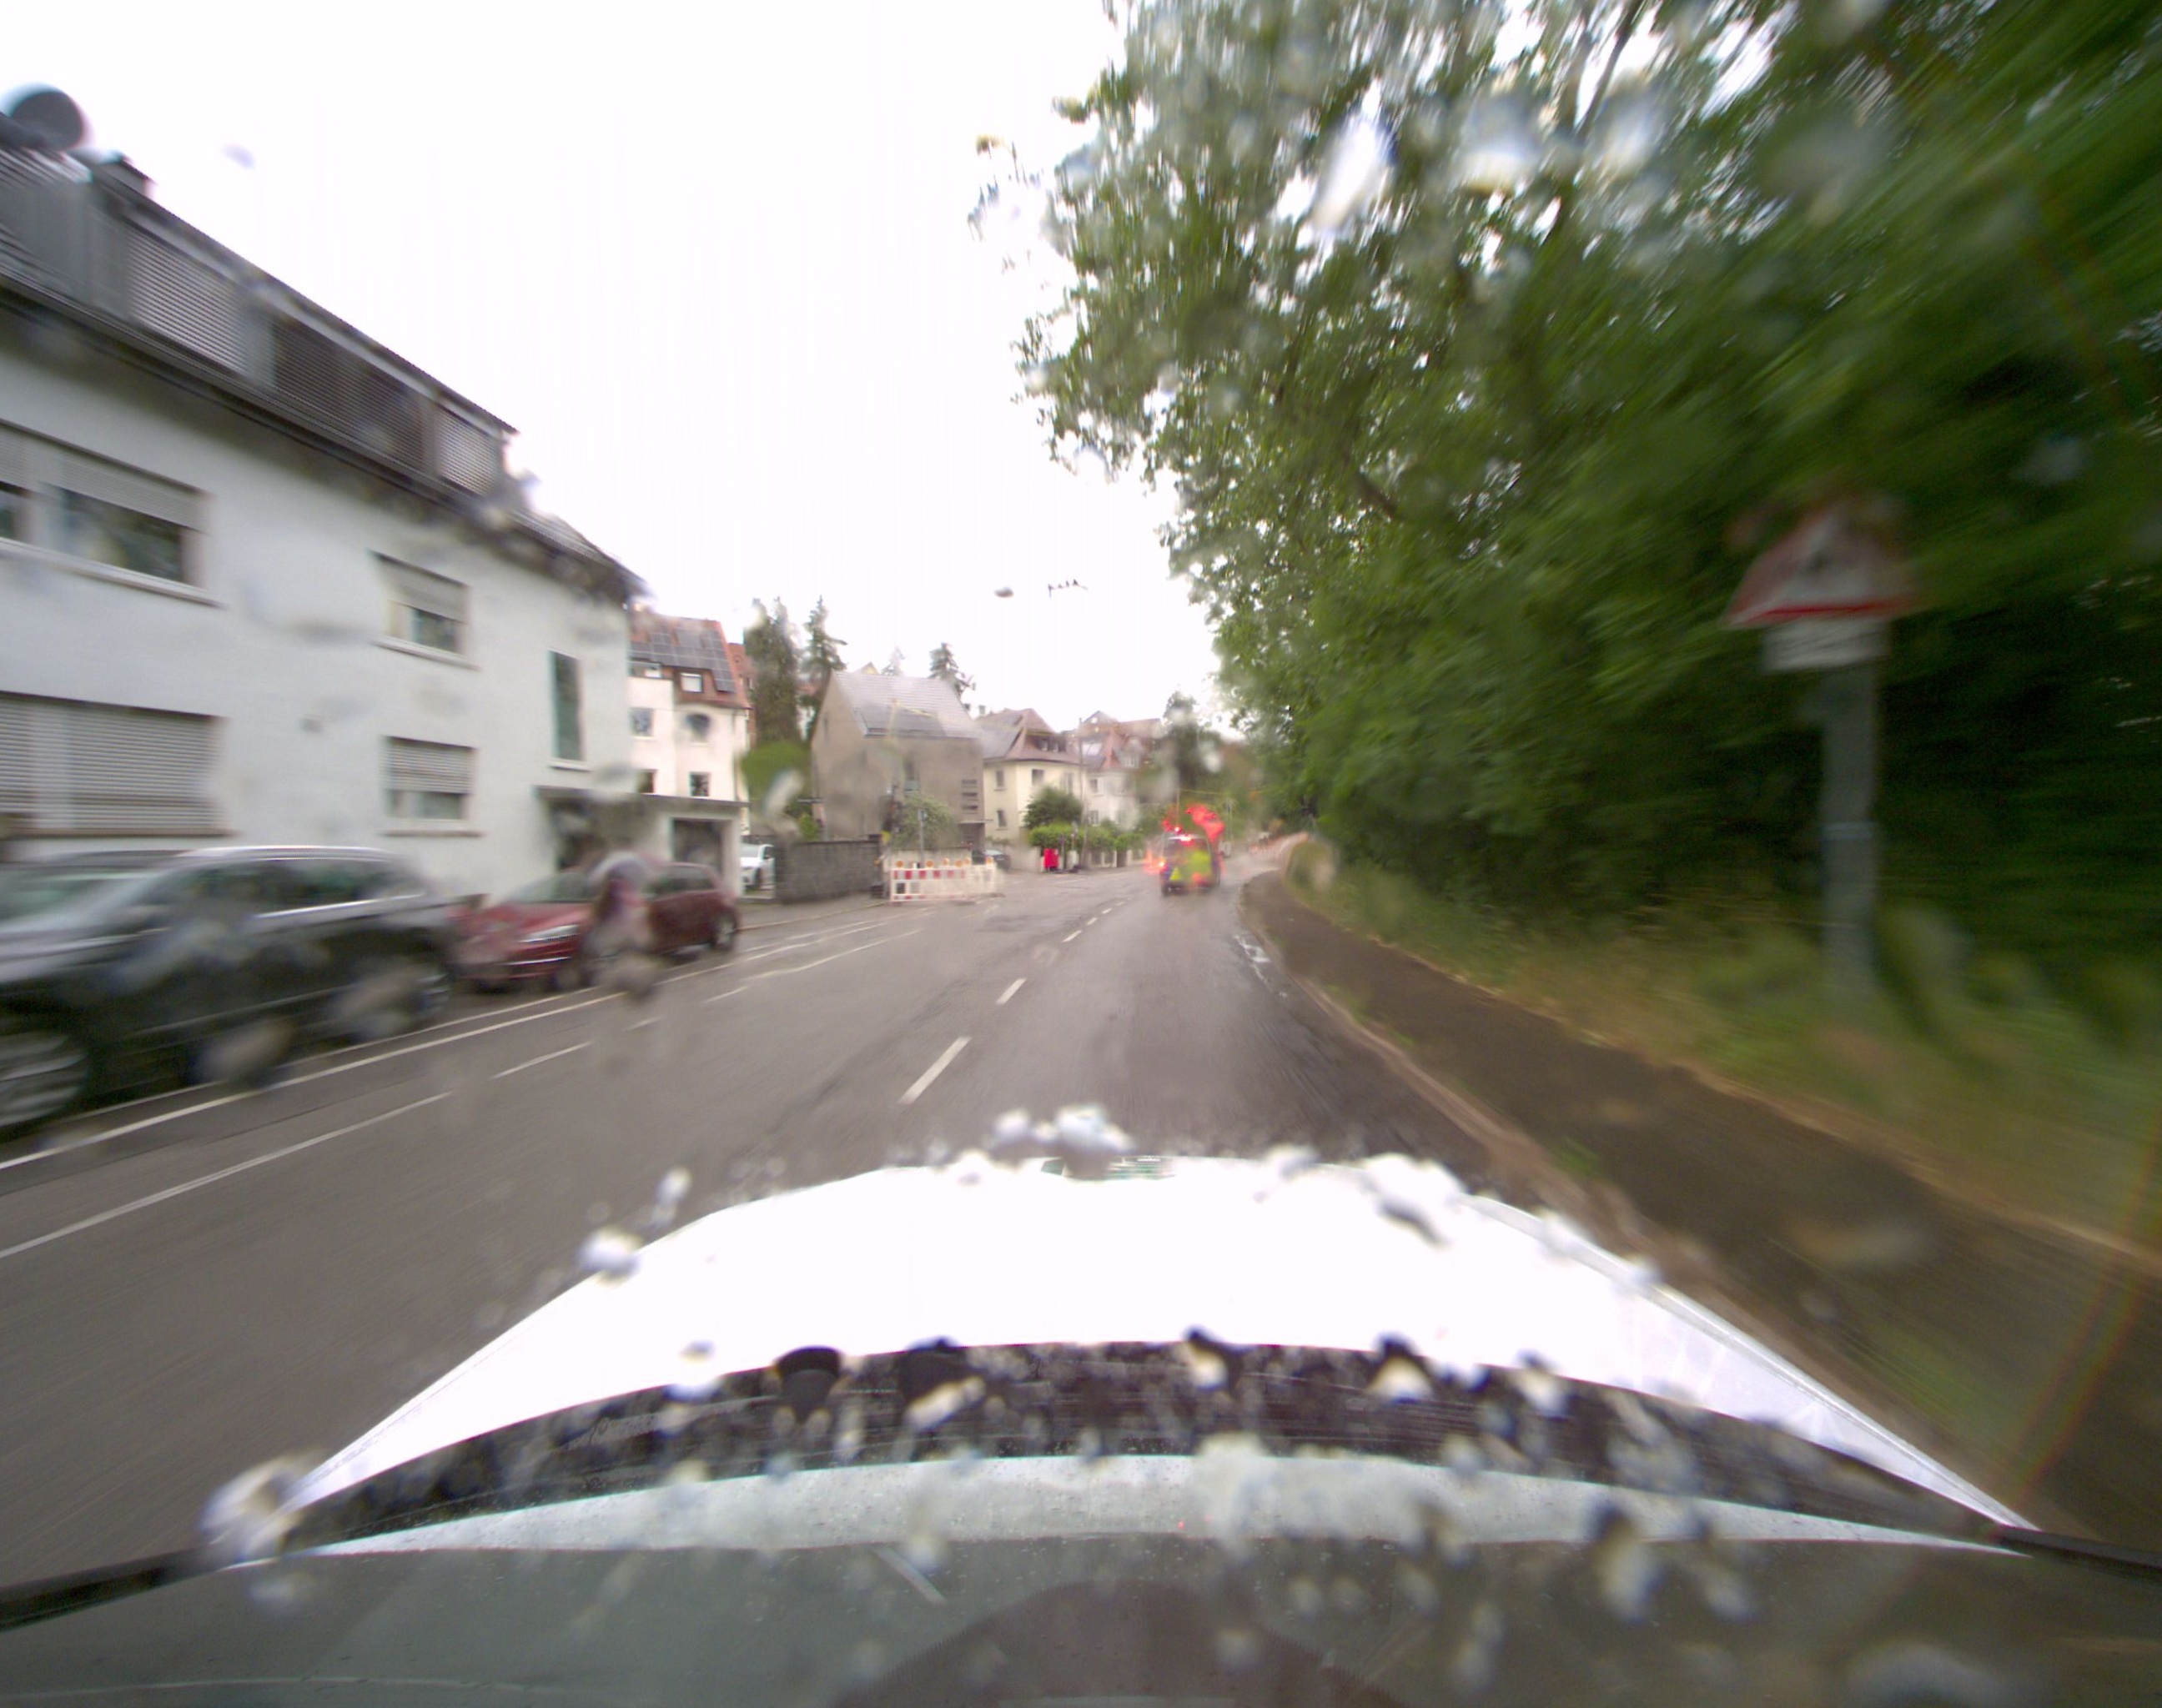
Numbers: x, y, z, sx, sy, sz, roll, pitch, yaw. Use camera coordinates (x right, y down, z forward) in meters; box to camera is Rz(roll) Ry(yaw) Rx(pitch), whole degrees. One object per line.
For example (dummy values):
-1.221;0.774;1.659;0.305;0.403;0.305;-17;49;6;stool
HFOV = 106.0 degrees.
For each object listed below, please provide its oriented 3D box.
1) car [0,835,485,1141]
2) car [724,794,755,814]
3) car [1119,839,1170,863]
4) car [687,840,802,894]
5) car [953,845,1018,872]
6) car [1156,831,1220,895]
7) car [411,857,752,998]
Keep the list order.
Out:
-6.743;0.753;5.705;1.748;1.658;4.406;-3;1;1;car
-29.049;-4.254;69.216;1.789;1.464;3.578;-2;0;-34;car
5.507;-0.251;70.386;3.949;2.013;1.841;0;0;30;car
-10.097;0.365;24.715;1.768;1.464;3.620;-2;0;3;car
-5.545;0.232;46.955;1.848;1.443;3.954;-1;1;-39;car
3.834;0.269;28.527;1.981;2.013;4.414;-1;0;10;car
-6.345;0.817;11.037;1.608;1.440;4.239;-1;1;7;car
